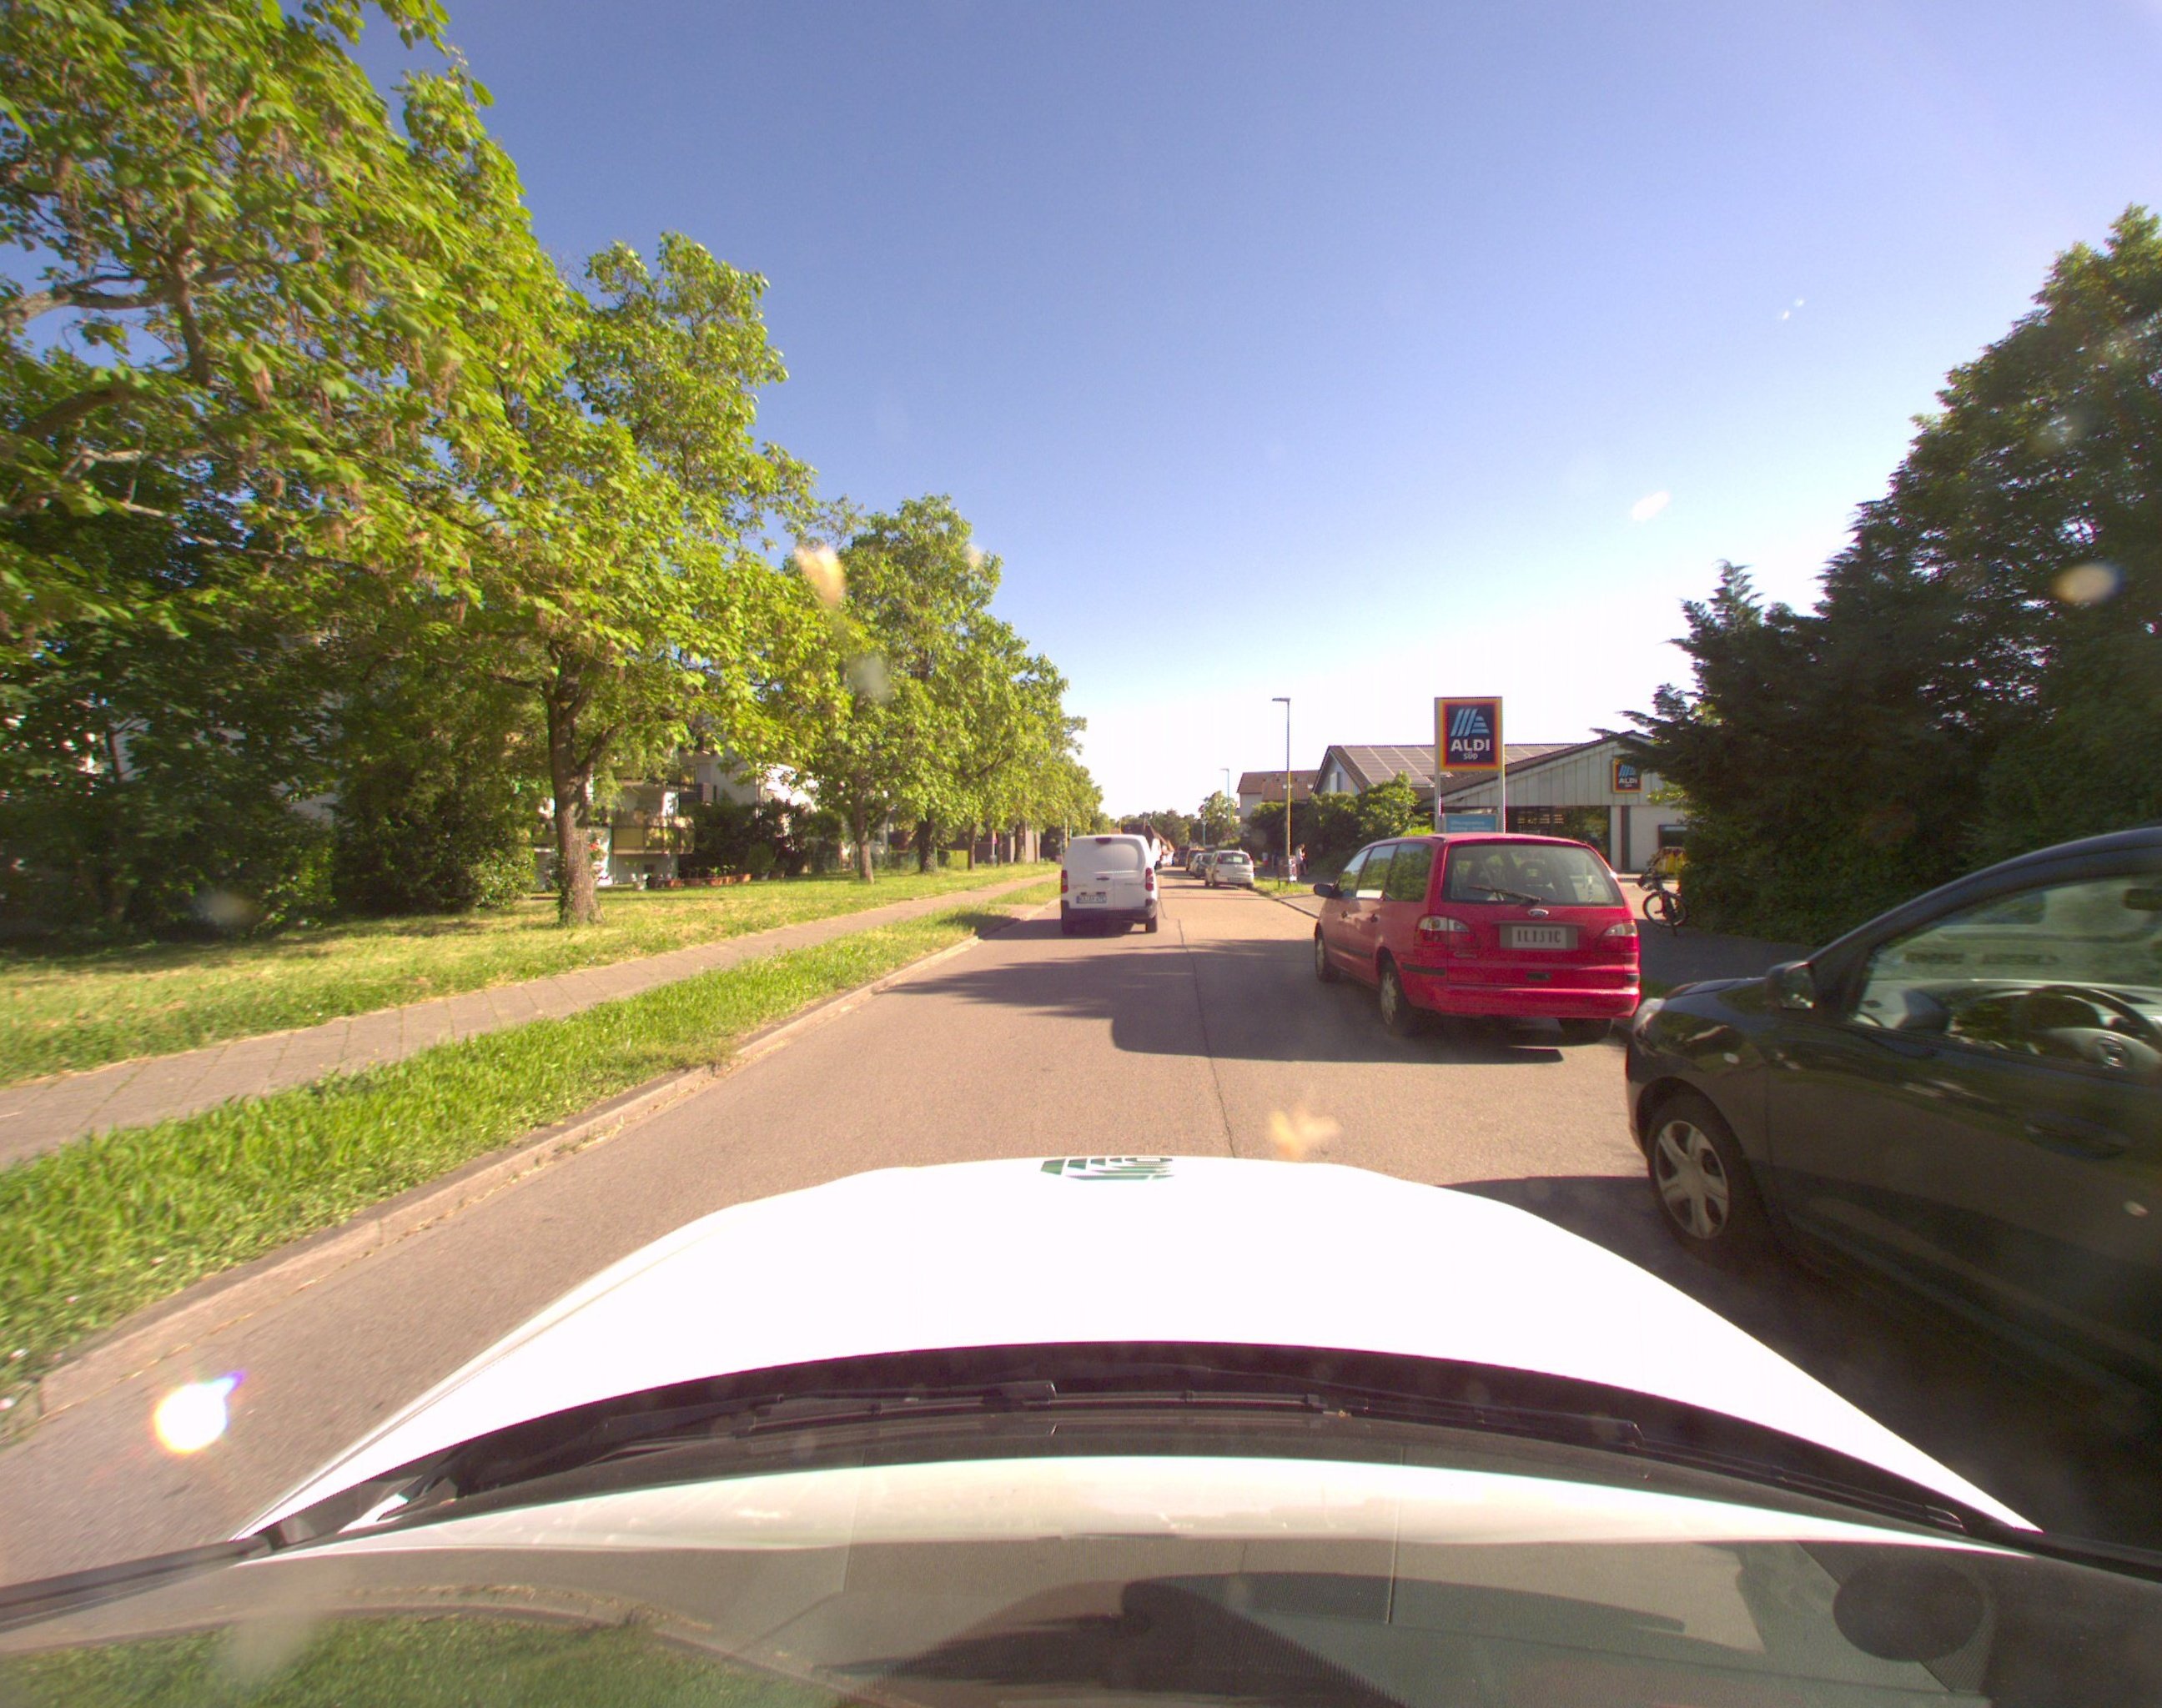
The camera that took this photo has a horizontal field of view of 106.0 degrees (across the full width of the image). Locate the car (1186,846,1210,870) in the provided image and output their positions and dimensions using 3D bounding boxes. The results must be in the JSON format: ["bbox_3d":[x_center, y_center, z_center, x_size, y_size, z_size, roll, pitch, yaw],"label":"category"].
[{"bbox_3d":[9.111,0.315,63.771,1.715,1.837,4.007,0,0,6],"label":"car"}]

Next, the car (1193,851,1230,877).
[{"bbox_3d":[7.374,0.536,46.382,1.798,1.443,4.370,0,0,6],"label":"car"}]

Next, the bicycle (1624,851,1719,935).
[{"bbox_3d":[9.259,0.586,12.851,0.714,1.221,1.906,-3,-2,21],"label":"bicycle"}]

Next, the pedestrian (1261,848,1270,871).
[{"bbox_3d":[12.843,0.388,56.601,0.563,1.637,0.548,0,0,10],"label":"pedestrian"}]

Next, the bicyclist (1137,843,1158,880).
[{"bbox_3d":[2.863,0.341,35.245,0.901,1.584,0.967,0,-1,4],"label":"bicyclist"}]

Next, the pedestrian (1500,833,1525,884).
[{"bbox_3d":[14.015,0.139,26.436,0.685,1.631,0.781,0,0,26],"label":"pedestrian"}]

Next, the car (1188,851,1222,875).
[{"bbox_3d":[7.914,0.575,52.225,1.818,1.452,4.004,0,0,4],"label":"car"}]

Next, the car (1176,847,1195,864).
[{"bbox_3d":[11.560,0.236,90.329,1.796,1.785,4.004,2,-1,4],"label":"car"}]

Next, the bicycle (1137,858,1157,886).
[{"bbox_3d":[2.846,0.764,35.245,0.783,1.138,2.282,-1,0,3],"label":"bicycle"}]

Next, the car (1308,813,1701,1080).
[{"bbox_3d":[3.526,0.619,7.898,1.831,1.805,4.662,0,0,6],"label":"car"}]

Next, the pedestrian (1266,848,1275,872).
[{"bbox_3d":[13.159,0.410,56.529,0.563,1.637,0.548,0,0,10],"label":"pedestrian"}]

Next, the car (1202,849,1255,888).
[{"bbox_3d":[6.276,0.602,34.934,1.673,1.599,4.030,0,0,2],"label":"car"}]

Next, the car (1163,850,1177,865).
[{"bbox_3d":[12.656,0.479,116.592,1.796,2.069,4.004,2,-1,4],"label":"car"}]

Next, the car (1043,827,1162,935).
[{"bbox_3d":[0.580,0.468,16.434,1.983,1.882,4.297,0,0,7],"label":"car"}]

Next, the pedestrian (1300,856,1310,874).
[{"bbox_3d":[12.126,0.582,44.070,0.528,0.980,0.813,0,0,13],"label":"pedestrian"}]

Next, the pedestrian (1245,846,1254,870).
[{"bbox_3d":[11.223,0.269,54.148,0.563,1.637,0.548,0,0,10],"label":"pedestrian"}]

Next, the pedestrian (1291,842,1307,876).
[{"bbox_3d":[11.590,0.249,43.304,0.793,1.782,0.812,0,0,13],"label":"pedestrian"}]

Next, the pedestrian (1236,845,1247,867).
[{"bbox_3d":[13.941,0.174,70.893,0.791,1.861,0.874,0,0,-2],"label":"pedestrian"}]

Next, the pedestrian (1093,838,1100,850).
[{"bbox_3d":[1.732,-1.144,92.535,0.504,1.446,0.643,0,0,38],"label":"pedestrian"}]

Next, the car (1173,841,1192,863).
[{"bbox_3d":[12.167,-0.229,97.783,1.858,2.562,4.772,2,-1,4],"label":"car"}]

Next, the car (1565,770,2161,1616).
[{"bbox_3d":[2.981,0.658,1.668,1.716,1.656,4.359,0,0,5],"label":"car"}]
